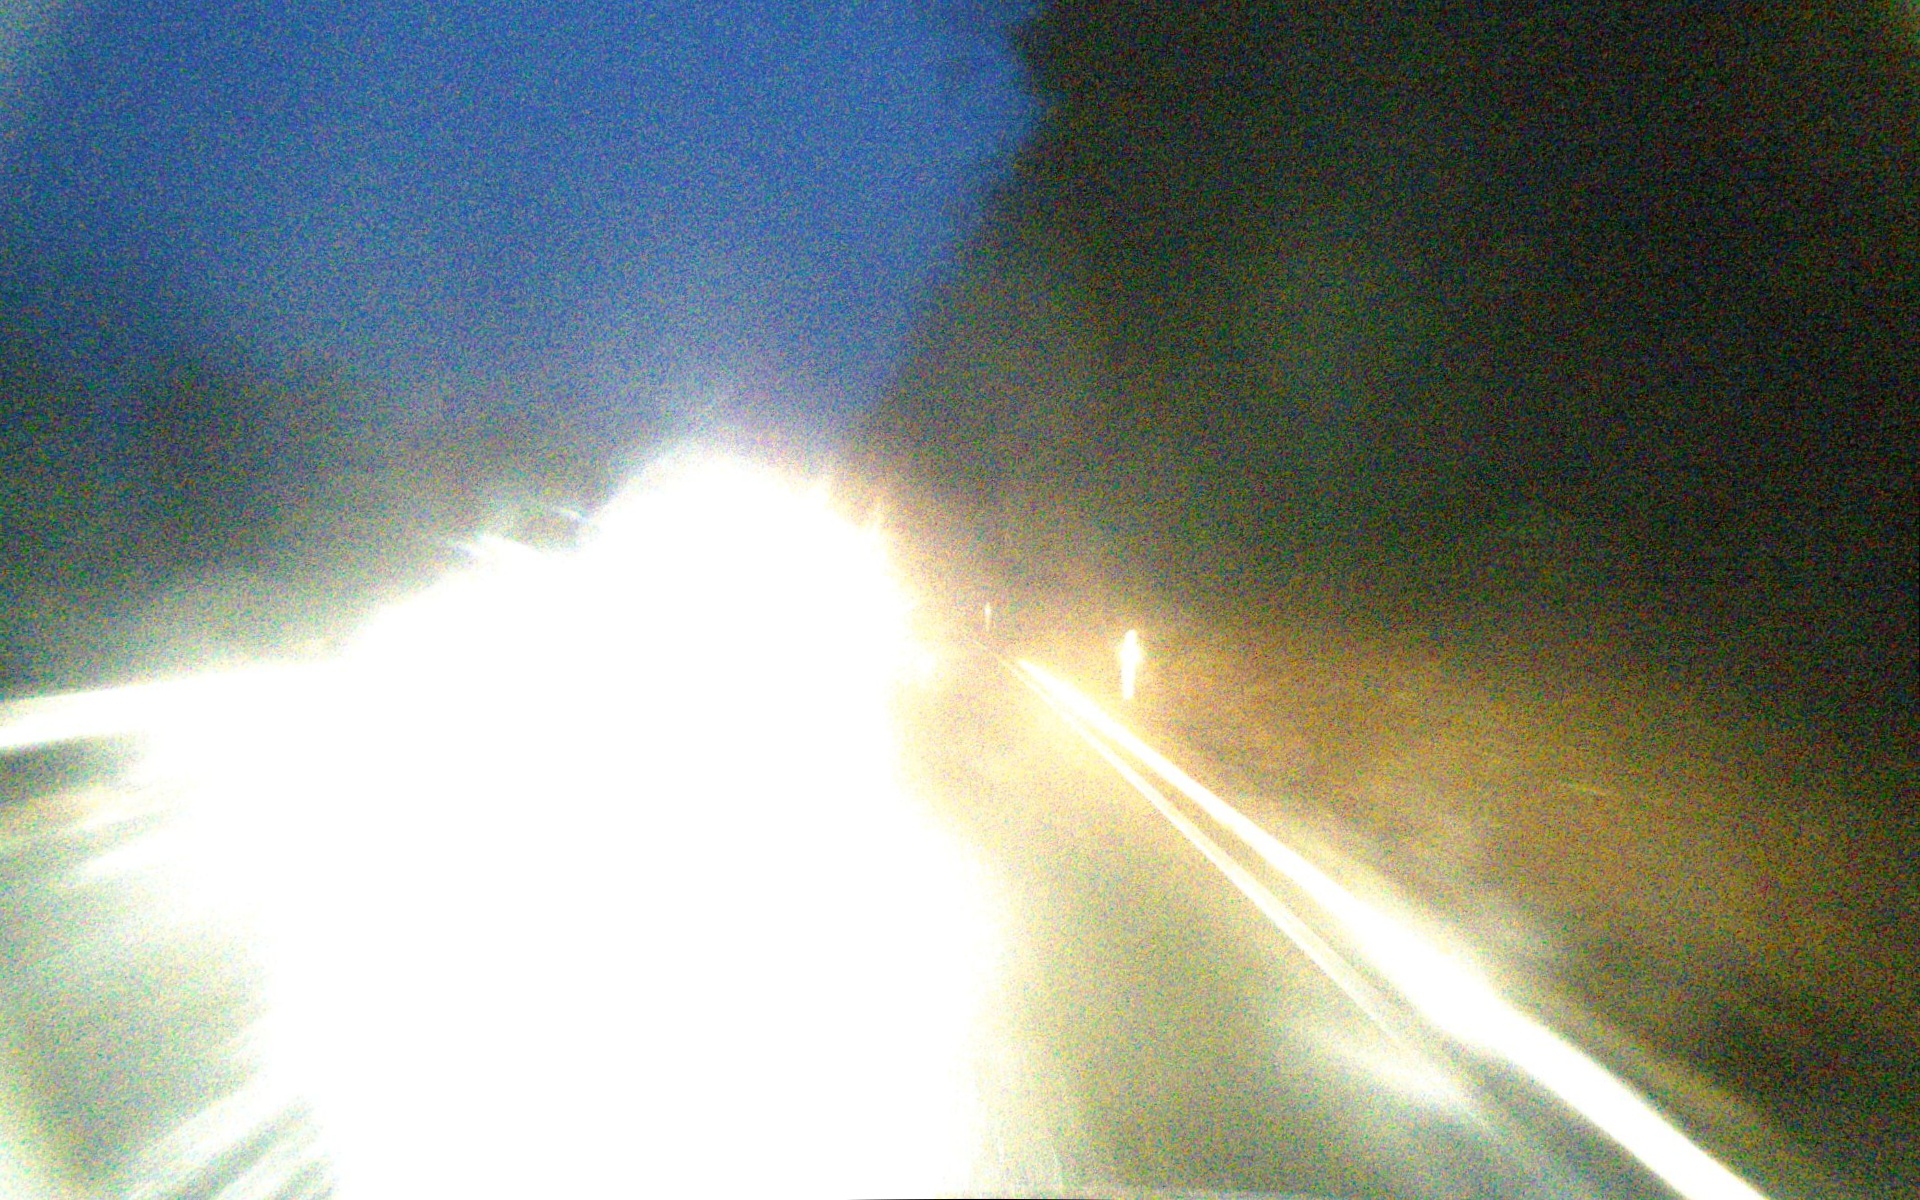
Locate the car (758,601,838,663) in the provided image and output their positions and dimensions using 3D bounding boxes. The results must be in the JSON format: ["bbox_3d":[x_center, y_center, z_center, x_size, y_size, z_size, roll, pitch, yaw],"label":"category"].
[{"bbox_3d":[-4.353,0.829,45.069,1.818,1.548,4.679,2,0,-2],"label":"car"}]

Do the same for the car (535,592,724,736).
[{"bbox_3d":[-3.879,0.680,19.723,1.940,1.487,4.271,2,0,-10],"label":"car"}]
